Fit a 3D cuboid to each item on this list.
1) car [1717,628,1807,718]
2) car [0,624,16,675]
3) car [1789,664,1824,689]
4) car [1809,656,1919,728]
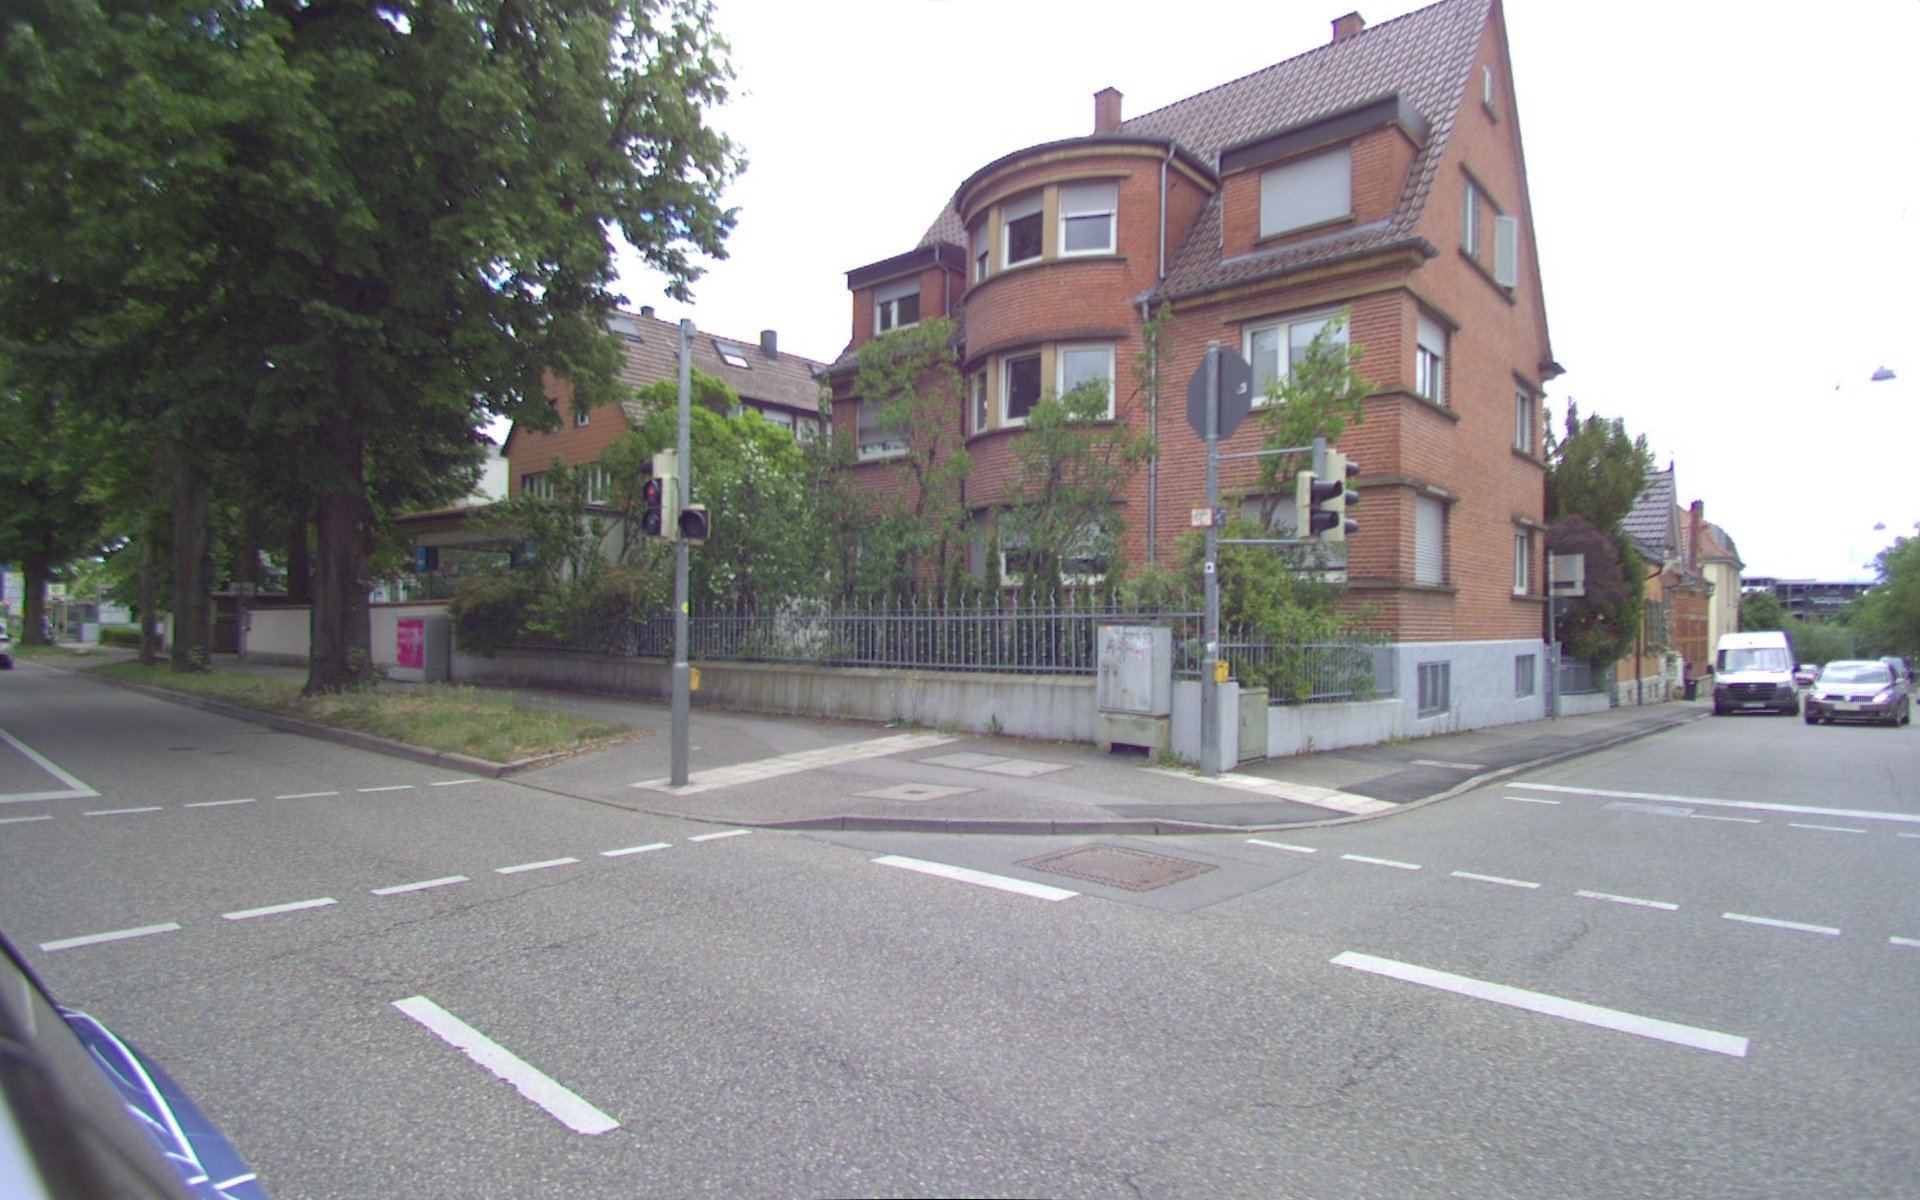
[{"bbox_3d":[25.120,2.271,31.739,2.038,2.529,5.913,-1,-4,39],"label":"car"},{"bbox_3d":[-30.305,1.455,30.906,4.226,1.481,1.748,0,-4,42],"label":"car"},{"bbox_3d":[64.671,5.814,77.313,1.999,1.519,3.945,0,0,41],"label":"car"},{"bbox_3d":[22.061,2.231,24.684,1.897,1.597,3.944,-4,-6,41],"label":"car"}]
